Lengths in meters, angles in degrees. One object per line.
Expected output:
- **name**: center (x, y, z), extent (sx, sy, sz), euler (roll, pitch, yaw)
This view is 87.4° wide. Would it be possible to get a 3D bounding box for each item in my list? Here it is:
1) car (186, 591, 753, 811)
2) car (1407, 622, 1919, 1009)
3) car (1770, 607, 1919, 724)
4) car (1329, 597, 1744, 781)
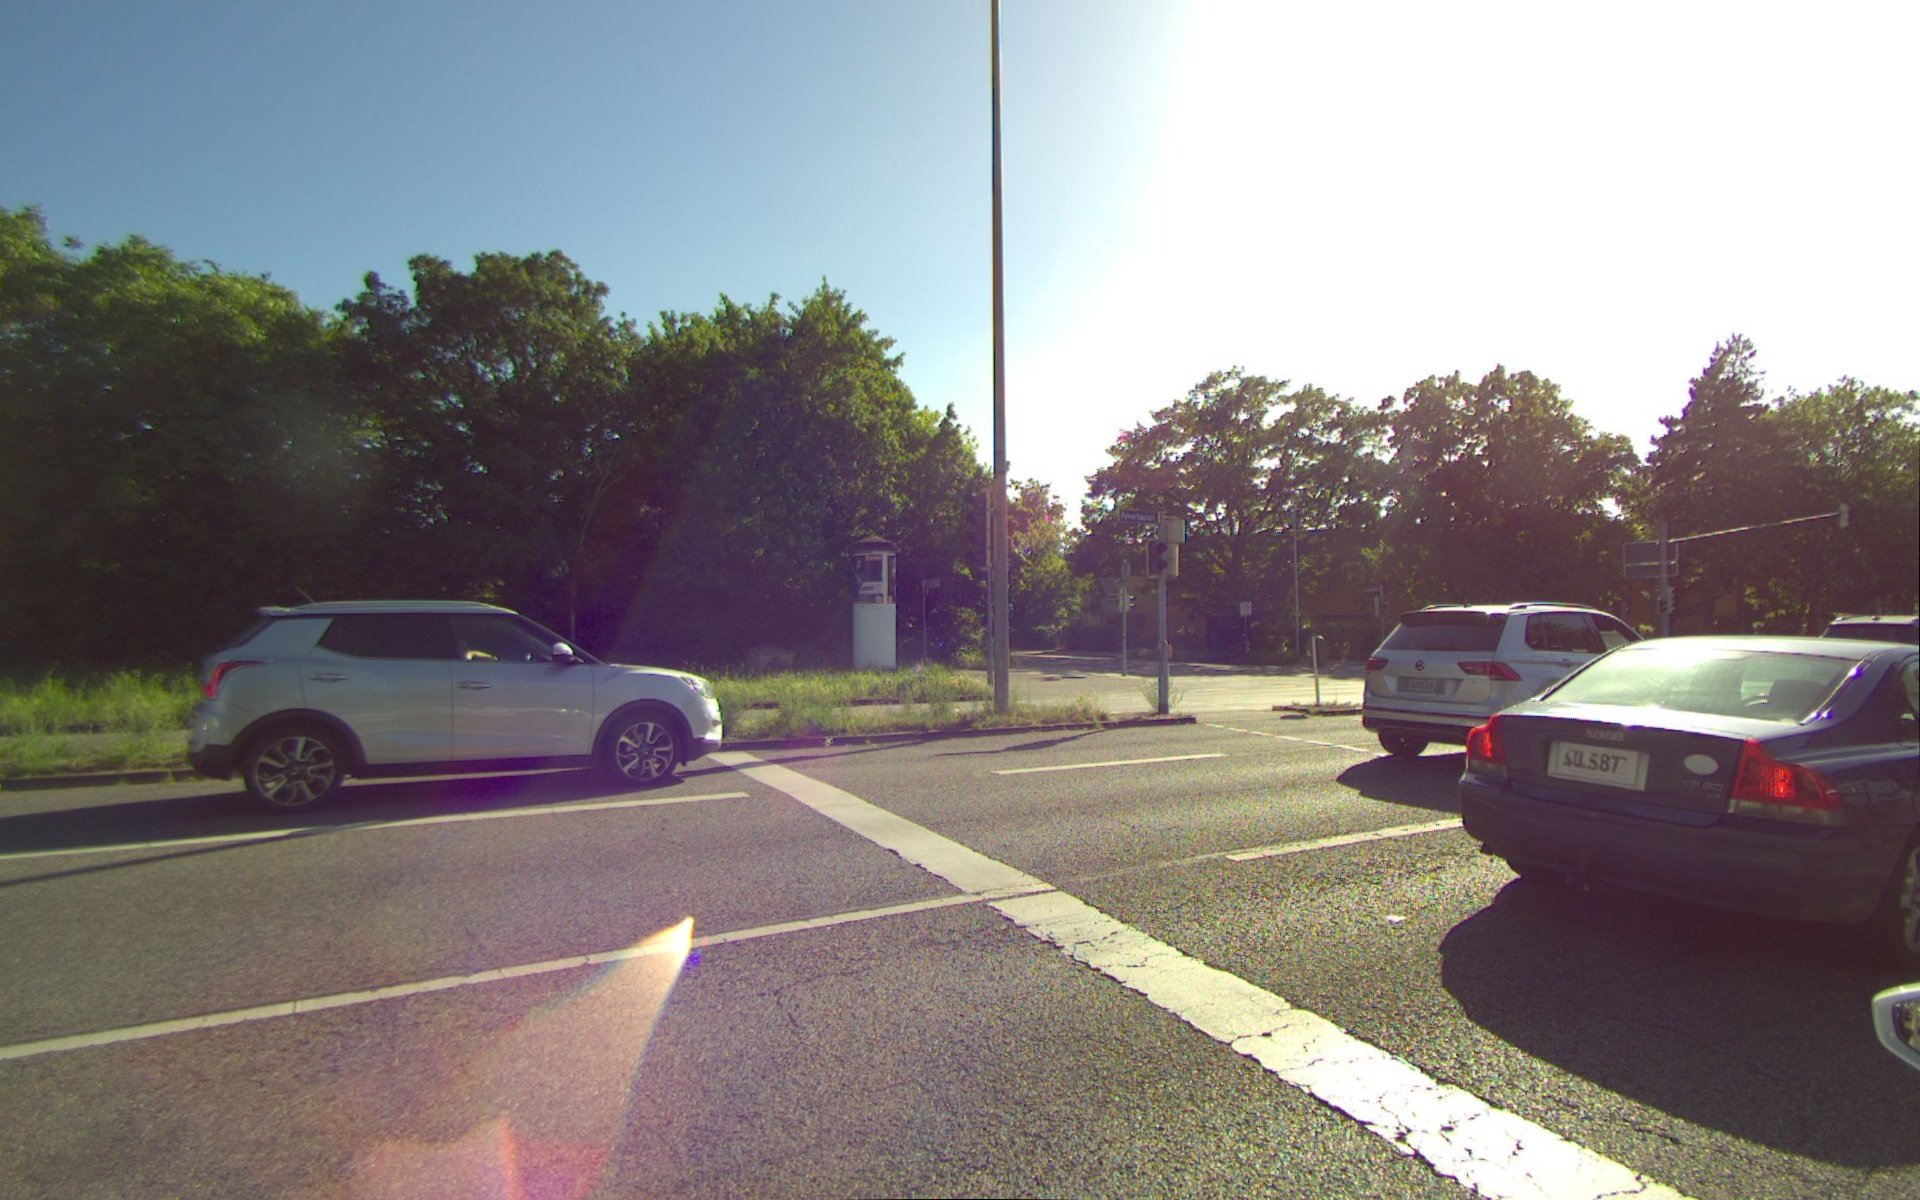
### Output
- **car**: center (-4.146, 0.802, 8.987), extent (4.146, 1.558, 1.822), euler (2, -3, -30)
- **car**: center (4.722, 0.885, 5.703), extent (4.314, 1.413, 1.827), euler (2, 0, -31)
- **car**: center (15.305, 1.002, 16.339), extent (4.314, 1.675, 1.901), euler (2, 0, -30)
- **car**: center (6.368, 0.860, 11.053), extent (4.309, 1.675, 1.936), euler (2, 0, -27)
